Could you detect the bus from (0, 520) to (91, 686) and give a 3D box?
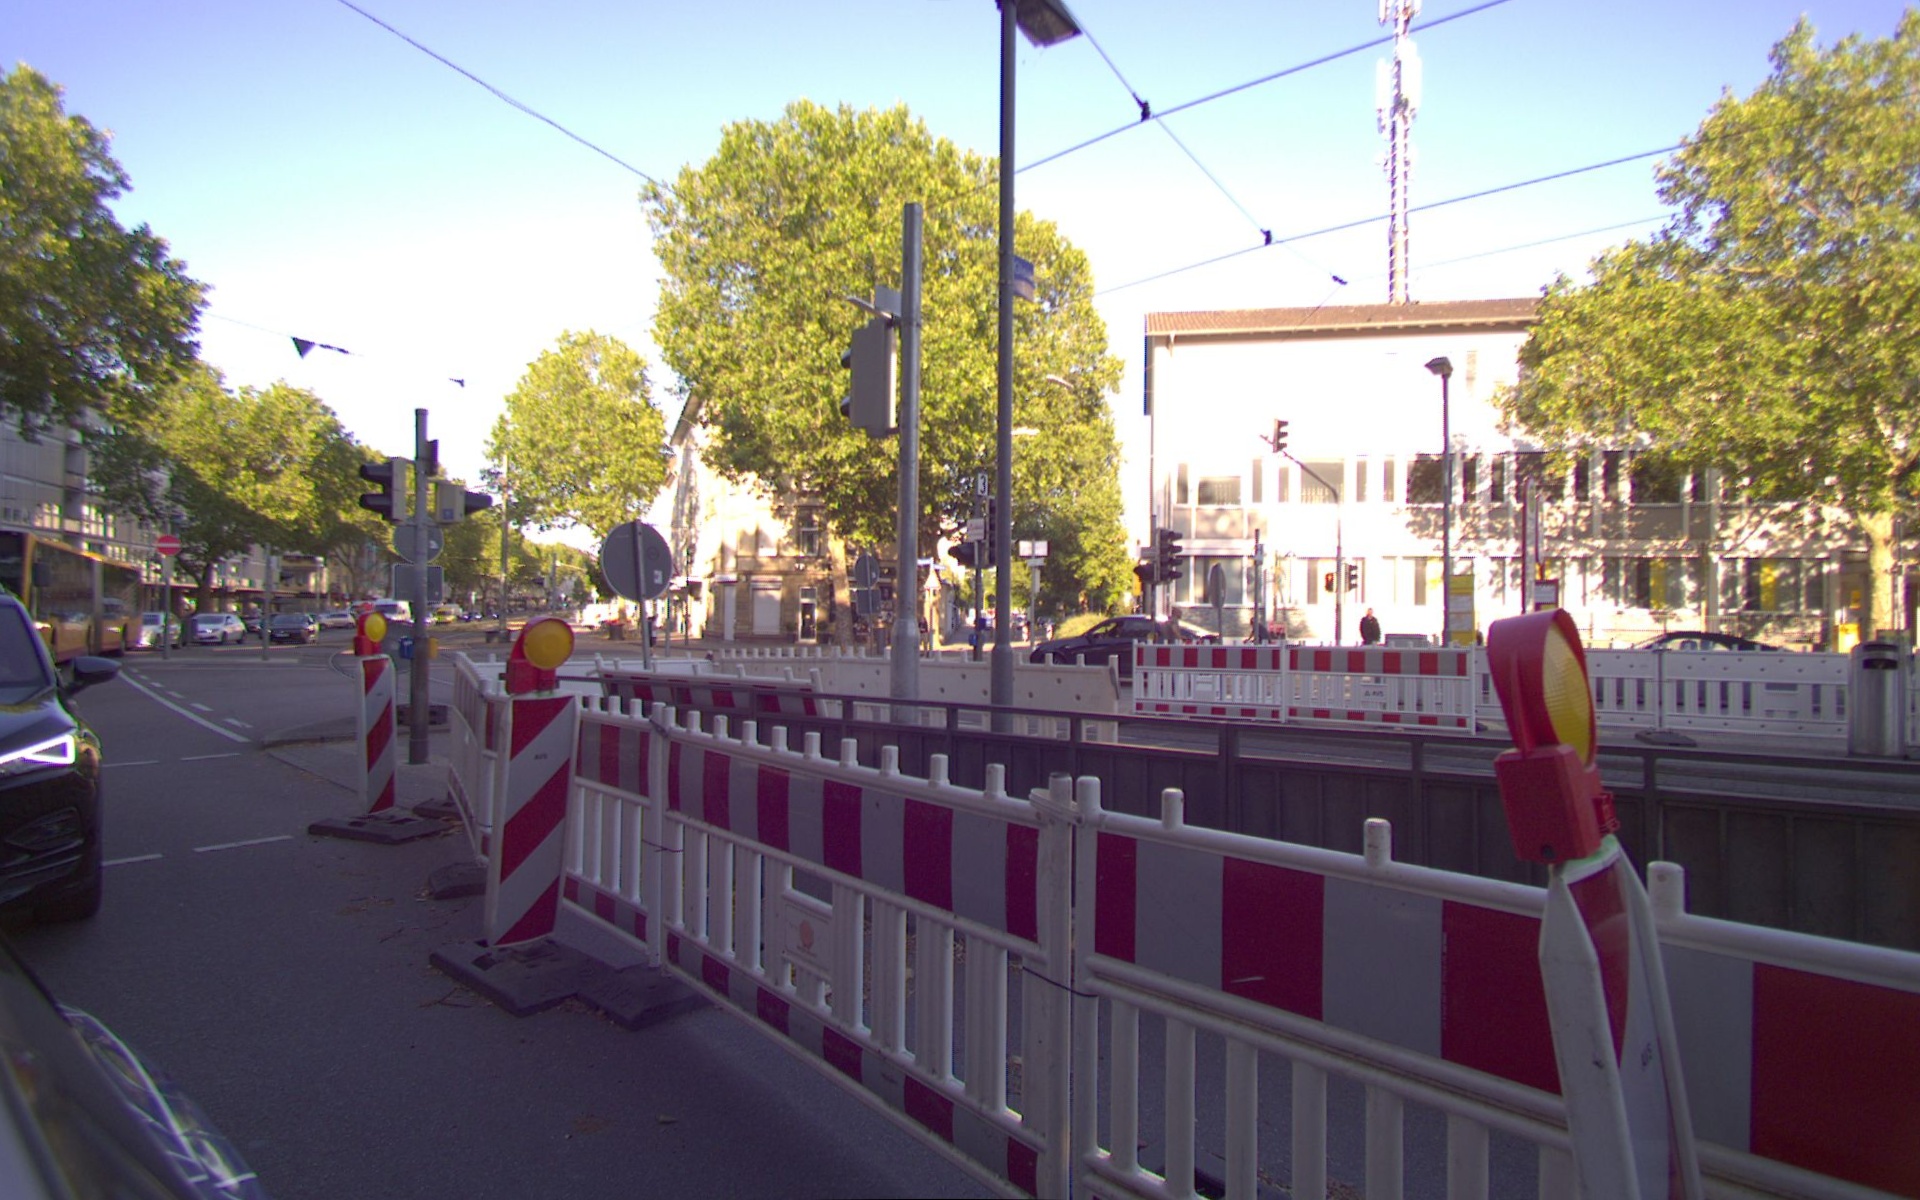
[{"bbox_3d":[-21.237,0.104,22.132,2.678,3.130,8.641,1,-2,-36],"label":"bus"}]

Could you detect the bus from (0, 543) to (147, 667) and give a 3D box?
[{"bbox_3d":[-26.077,0.194,29.343,2.676,3.130,8.622,1,-1,-31],"label":"bus"}]

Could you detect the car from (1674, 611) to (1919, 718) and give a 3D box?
[{"bbox_3d":[14.732,1.036,17.355,3.995,1.674,1.974,-1,-2,38],"label":"car"}]

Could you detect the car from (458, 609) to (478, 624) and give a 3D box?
[{"bbox_3d":[-63.440,2.157,130.559,1.809,1.816,4.143,1,-1,-19],"label":"car"}]

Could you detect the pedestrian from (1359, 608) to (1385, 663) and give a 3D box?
[{"bbox_3d":[12.028,1.027,29.553,0.649,1.564,0.563,-1,-2,28],"label":"pedestrian"}]

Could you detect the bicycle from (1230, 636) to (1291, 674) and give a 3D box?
[{"bbox_3d":[8.826,1.594,29.757,1.621,1.073,0.543,-1,-2,41],"label":"bicycle"}]

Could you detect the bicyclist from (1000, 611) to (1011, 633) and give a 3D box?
[{"bbox_3d":[3.552,1.708,78.947,0.668,1.741,0.761,0,-1,17],"label":"bicyclist"}]

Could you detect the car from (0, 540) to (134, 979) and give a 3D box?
[{"bbox_3d":[-5.593,0.633,4.903,3.998,1.719,1.818,-1,-2,41],"label":"car"}]

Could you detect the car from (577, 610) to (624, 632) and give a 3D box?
[{"bbox_3d":[-34.463,2.035,97.204,1.990,2.029,3.963,0,-1,27],"label":"car"}]

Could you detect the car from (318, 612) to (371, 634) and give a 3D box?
[{"bbox_3d":[-57.681,2.156,94.924,3.938,2.029,2.002,1,-2,-42],"label":"car"}]

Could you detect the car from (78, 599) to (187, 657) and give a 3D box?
[{"bbox_3d":[-30.896,1.046,37.933,1.965,2.029,4.111,1,-1,-21],"label":"car"}]

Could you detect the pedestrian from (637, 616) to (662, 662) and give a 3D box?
[{"bbox_3d":[-10.740,1.345,34.978,0.594,1.545,0.746,1,-2,-37],"label":"pedestrian"}]

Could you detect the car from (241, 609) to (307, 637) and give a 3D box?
[{"bbox_3d":[-50.757,1.687,74.995,3.932,2.029,2.006,1,-2,-31],"label":"car"}]

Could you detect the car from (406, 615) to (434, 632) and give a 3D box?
[{"bbox_3d":[-49.519,2.148,92.895,1.675,1.481,3.776,1,-1,-19],"label":"car"}]

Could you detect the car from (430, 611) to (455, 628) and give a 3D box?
[{"bbox_3d":[-54.455,2.045,106.560,1.809,1.816,4.143,1,-1,-19],"label":"car"}]

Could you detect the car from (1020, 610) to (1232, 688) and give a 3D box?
[{"bbox_3d":[3.867,1.091,23.835,4.545,1.674,1.977,0,-2,33],"label":"car"}]

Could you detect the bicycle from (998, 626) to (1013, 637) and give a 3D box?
[{"bbox_3d":[3.533,2.439,78.886,0.676,0.788,1.979,0,-1,17],"label":"bicycle"}]

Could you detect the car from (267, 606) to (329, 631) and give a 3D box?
[{"bbox_3d":[-54.218,1.507,82.920,3.938,2.029,2.002,1,-2,-42],"label":"car"}]

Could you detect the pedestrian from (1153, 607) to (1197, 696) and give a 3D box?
[{"bbox_3d":[4.311,1.020,20.315,0.545,1.760,0.693,1,-2,-24],"label":"pedestrian"}]

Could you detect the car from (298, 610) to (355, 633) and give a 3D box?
[{"bbox_3d":[-56.004,1.922,89.524,3.938,2.029,2.002,1,-2,-42],"label":"car"}]

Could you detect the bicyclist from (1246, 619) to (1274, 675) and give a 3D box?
[{"bbox_3d":[8.819,1.372,29.763,0.643,1.626,0.544,-1,-2,41],"label":"bicyclist"}]

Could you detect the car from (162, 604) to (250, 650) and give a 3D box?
[{"bbox_3d":[-34.950,1.241,47.044,1.966,2.029,4.012,1,-1,-17],"label":"car"}]

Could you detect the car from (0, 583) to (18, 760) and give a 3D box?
[{"bbox_3d":[-11.108,0.674,10.180,4.074,1.656,1.973,-1,-2,41],"label":"car"}]

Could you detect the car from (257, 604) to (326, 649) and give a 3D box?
[{"bbox_3d":[-31.737,1.266,48.181,1.965,2.029,4.013,1,-1,-22],"label":"car"}]

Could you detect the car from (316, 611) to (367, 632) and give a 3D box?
[{"bbox_3d":[-60.297,2.073,98.660,3.938,2.029,2.002,1,-2,-42],"label":"car"}]

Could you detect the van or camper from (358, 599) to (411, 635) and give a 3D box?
[{"bbox_3d":[-45.509,1.372,80.214,2.385,2.739,6.151,1,-1,-18],"label":"van or camper"}]
